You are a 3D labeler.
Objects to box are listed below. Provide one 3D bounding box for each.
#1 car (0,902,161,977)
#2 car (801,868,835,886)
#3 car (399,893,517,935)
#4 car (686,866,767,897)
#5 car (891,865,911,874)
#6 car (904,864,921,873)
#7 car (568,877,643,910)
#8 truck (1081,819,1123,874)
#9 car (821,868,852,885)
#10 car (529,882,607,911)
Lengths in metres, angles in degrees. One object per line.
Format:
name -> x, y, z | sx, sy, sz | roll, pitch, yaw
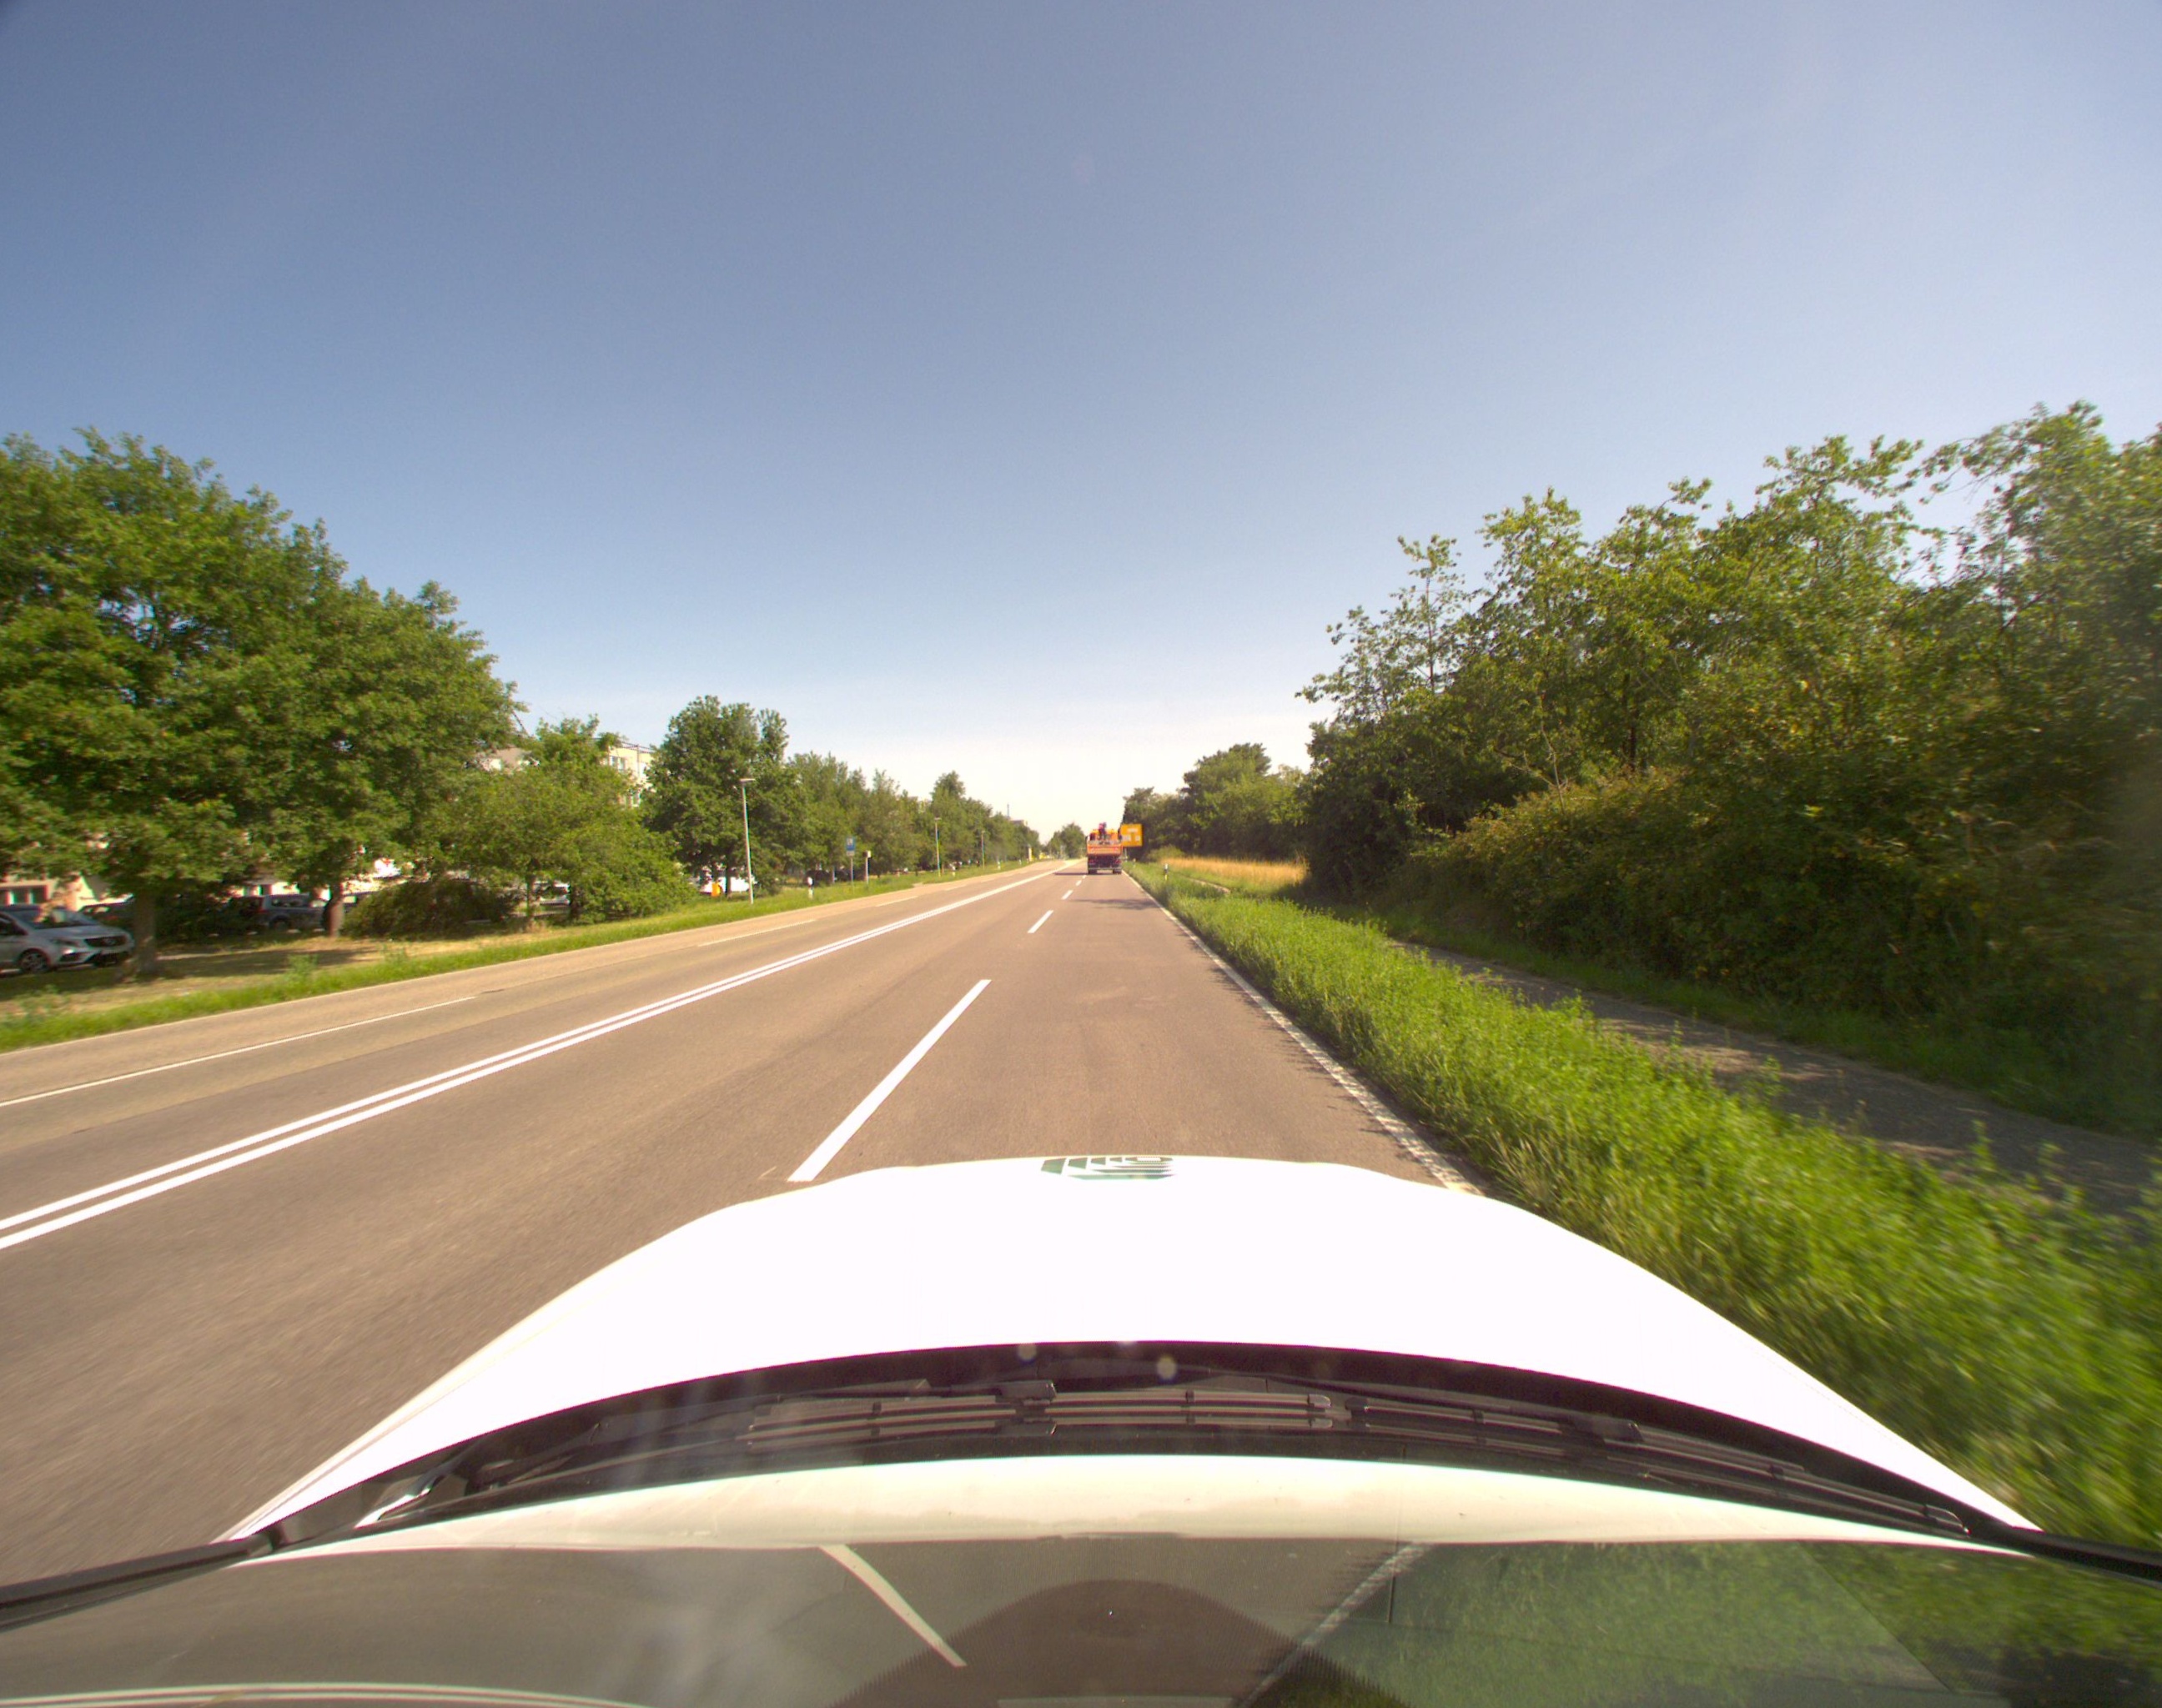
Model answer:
car -> -28.748, 2.411, 22.534 | 4.208, 1.730, 2.000 | -4, 0, 1
car -> -26.034, 2.295, 80.786 | 1.737, 1.578, 4.550 | -3, 0, 1
car -> -25.553, 2.442, 33.610 | 1.666, 1.350, 4.001 | -3, 0, 1
car -> -25.351, 1.930, 58.441 | 2.047, 1.929, 5.048 | -2, 0, 32
car -> -30.843, 2.618, 139.490 | 1.985, 1.437, 4.958 | -2, 0, 3
car -> -30.963, 2.594, 149.460 | 1.986, 1.437, 4.611 | -2, 0, 1
car -> -28.041, 2.310, 48.188 | 1.922, 1.651, 4.191 | -2, 0, 0
truck -> 1.497, -0.523, 61.007 | 2.863, 3.880, 7.397 | 0, 0, -1
car -> -25.953, 2.386, 86.449 | 1.737, 1.578, 4.550 | -3, 0, 1
car -> -30.356, 2.490, 48.355 | 1.922, 1.394, 4.191 | -2, 0, 0
